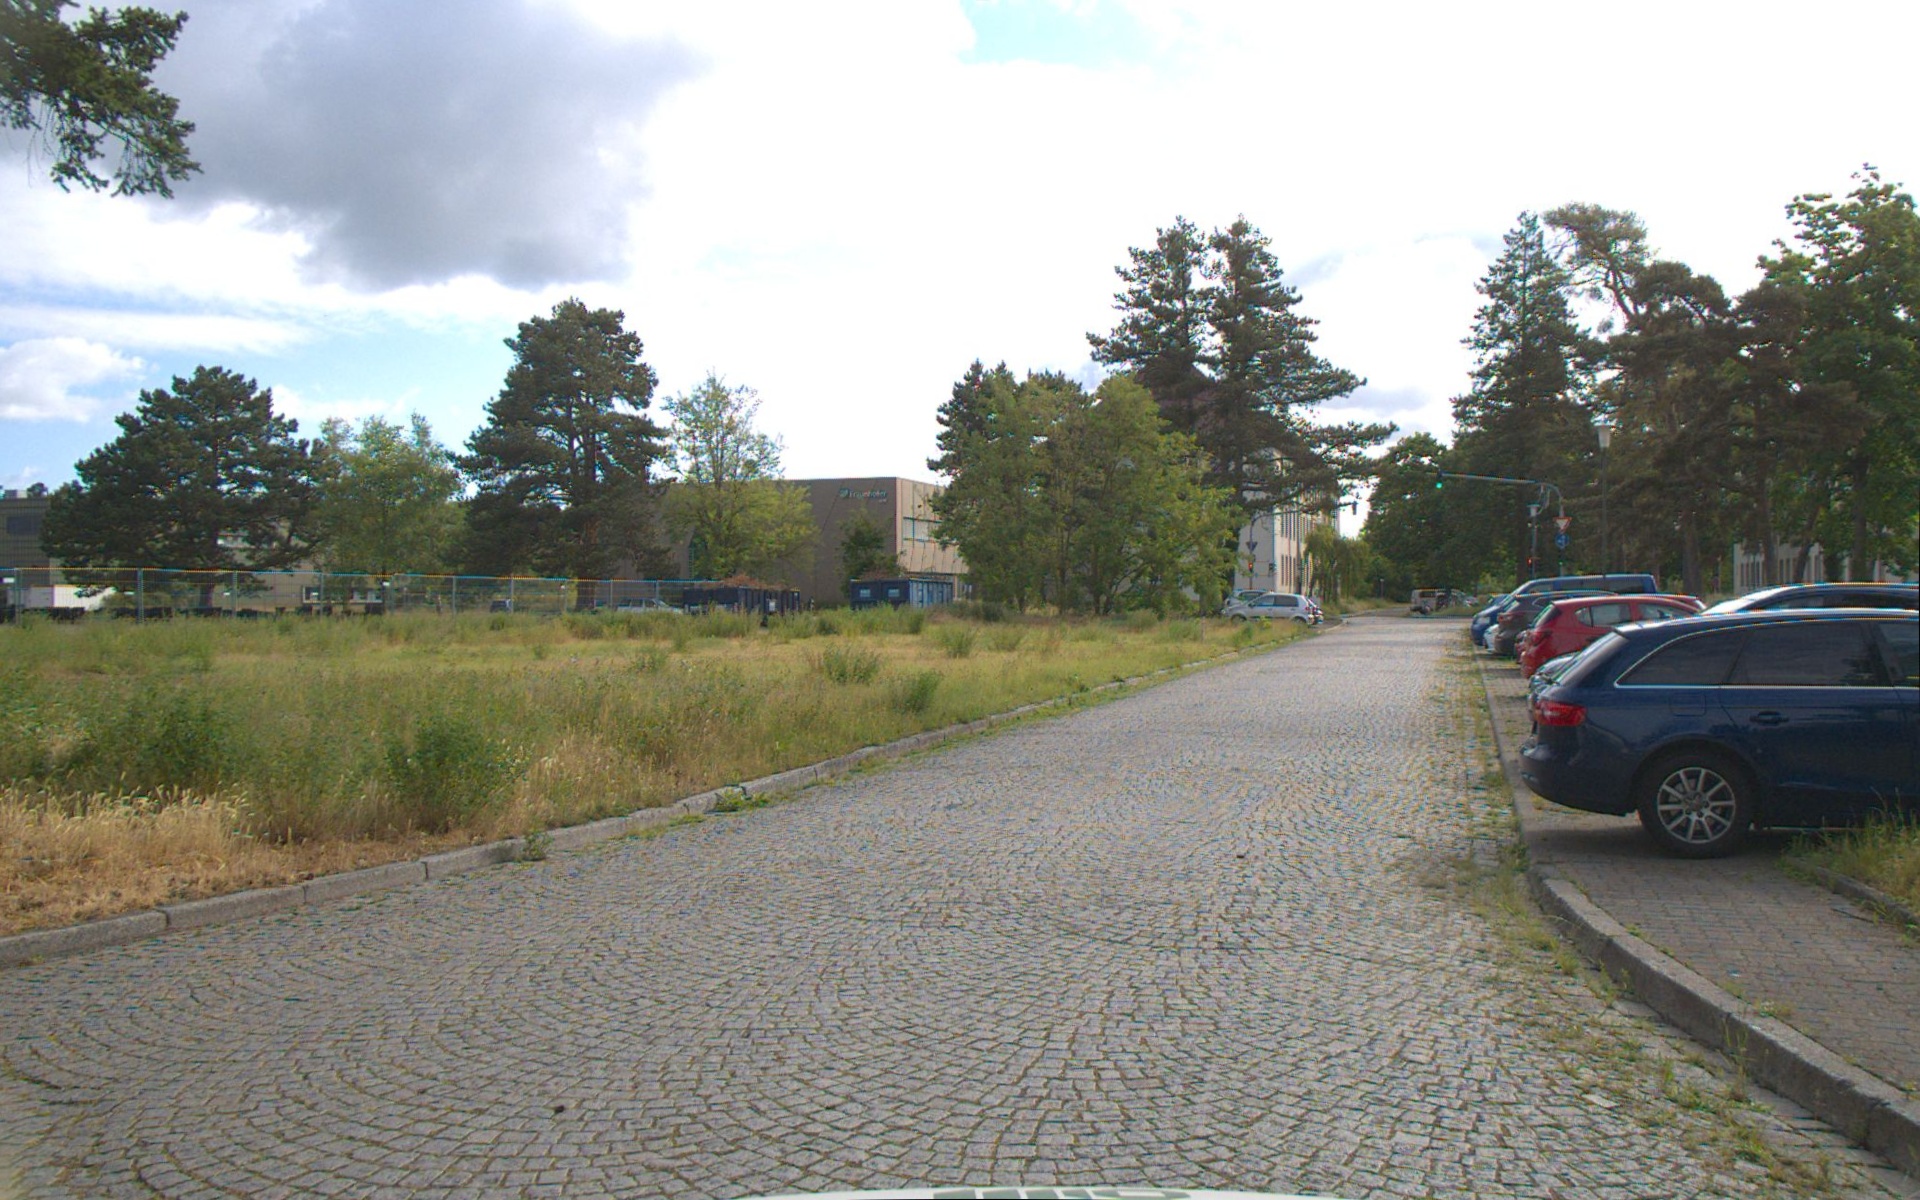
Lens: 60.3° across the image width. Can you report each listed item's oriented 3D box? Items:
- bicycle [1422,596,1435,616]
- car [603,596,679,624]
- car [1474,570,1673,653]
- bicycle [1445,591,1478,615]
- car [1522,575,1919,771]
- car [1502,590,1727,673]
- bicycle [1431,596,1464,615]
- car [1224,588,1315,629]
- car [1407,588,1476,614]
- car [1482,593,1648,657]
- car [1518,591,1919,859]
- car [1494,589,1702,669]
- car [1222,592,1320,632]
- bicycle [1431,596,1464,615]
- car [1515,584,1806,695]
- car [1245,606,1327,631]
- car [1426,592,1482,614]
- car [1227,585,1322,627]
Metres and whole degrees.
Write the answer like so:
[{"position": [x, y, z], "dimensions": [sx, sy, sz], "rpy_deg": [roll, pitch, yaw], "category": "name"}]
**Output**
[{"position": [31.277, 0.408, 110.442], "dimensions": [0.793, 1.290, 1.974], "rpy_deg": [0, 0, 18], "category": "bicycle"}, {"position": [-18.508, 0.570, 95.950], "dimensions": [3.903, 1.580, 1.810], "rpy_deg": [0, 0, 17], "category": "car"}, {"position": [15.820, 0.303, 42.909], "dimensions": [4.680, 2.075, 1.739], "rpy_deg": [0, 0, 15], "category": "car"}, {"position": [34.766, 0.209, 114.657], "dimensions": [2.114, 1.644, 0.813], "rpy_deg": [0, 0, 11], "category": "bicycle"}, {"position": [7.278, 0.618, 14.754], "dimensions": [4.173, 1.601, 1.896], "rpy_deg": [-2, 0, 17], "category": "car"}, {"position": [12.585, 0.586, 32.054], "dimensions": [3.903, 1.545, 1.739], "rpy_deg": [0, 0, 17], "category": "car"}, {"position": [33.527, 0.360, 113.682], "dimensions": [2.114, 1.290, 0.813], "rpy_deg": [0, 0, 11], "category": "bicycle"}, {"position": [13.718, 0.376, 73.392], "dimensions": [3.902, 1.780, 1.929], "rpy_deg": [0, 0, 10], "category": "car"}, {"position": [38.098, 0.102, 130.938], "dimensions": [4.943, 2.049, 2.001], "rpy_deg": [0, 0, 7], "category": "car"}, {"position": [14.802, 0.599, 40.632], "dimensions": [3.643, 1.449, 1.656], "rpy_deg": [-2, 0, 15], "category": "car"}, {"position": [5.816, 0.703, 10.200], "dimensions": [4.412, 1.490, 1.896], "rpy_deg": [-2, 0, 21], "category": "car"}, {"position": [13.172, 0.576, 34.378], "dimensions": [3.866, 1.608, 1.763], "rpy_deg": [0, 0, 16], "category": "car"}, {"position": [12.782, 0.498, 67.960], "dimensions": [3.901, 1.579, 2.002], "rpy_deg": [0, 0, 11], "category": "car"}, {"position": [33.692, 0.366, 114.247], "dimensions": [2.114, 1.290, 0.813], "rpy_deg": [0, 0, 11], "category": "bicycle"}, {"position": [10.292, 0.584, 24.576], "dimensions": [3.758, 1.532, 1.739], "rpy_deg": [-1, 0, 16], "category": "car"}, {"position": [14.870, 0.839, 75.469], "dimensions": [3.592, 1.113, 1.648], "rpy_deg": [0, 0, 11], "category": "car"}, {"position": [38.062, 0.224, 127.515], "dimensions": [3.901, 1.673, 2.002], "rpy_deg": [0, 0, 11], "category": "car"}, {"position": [13.403, 0.268, 70.472], "dimensions": [3.901, 1.736, 2.002], "rpy_deg": [0, 0, 11], "category": "car"}]
